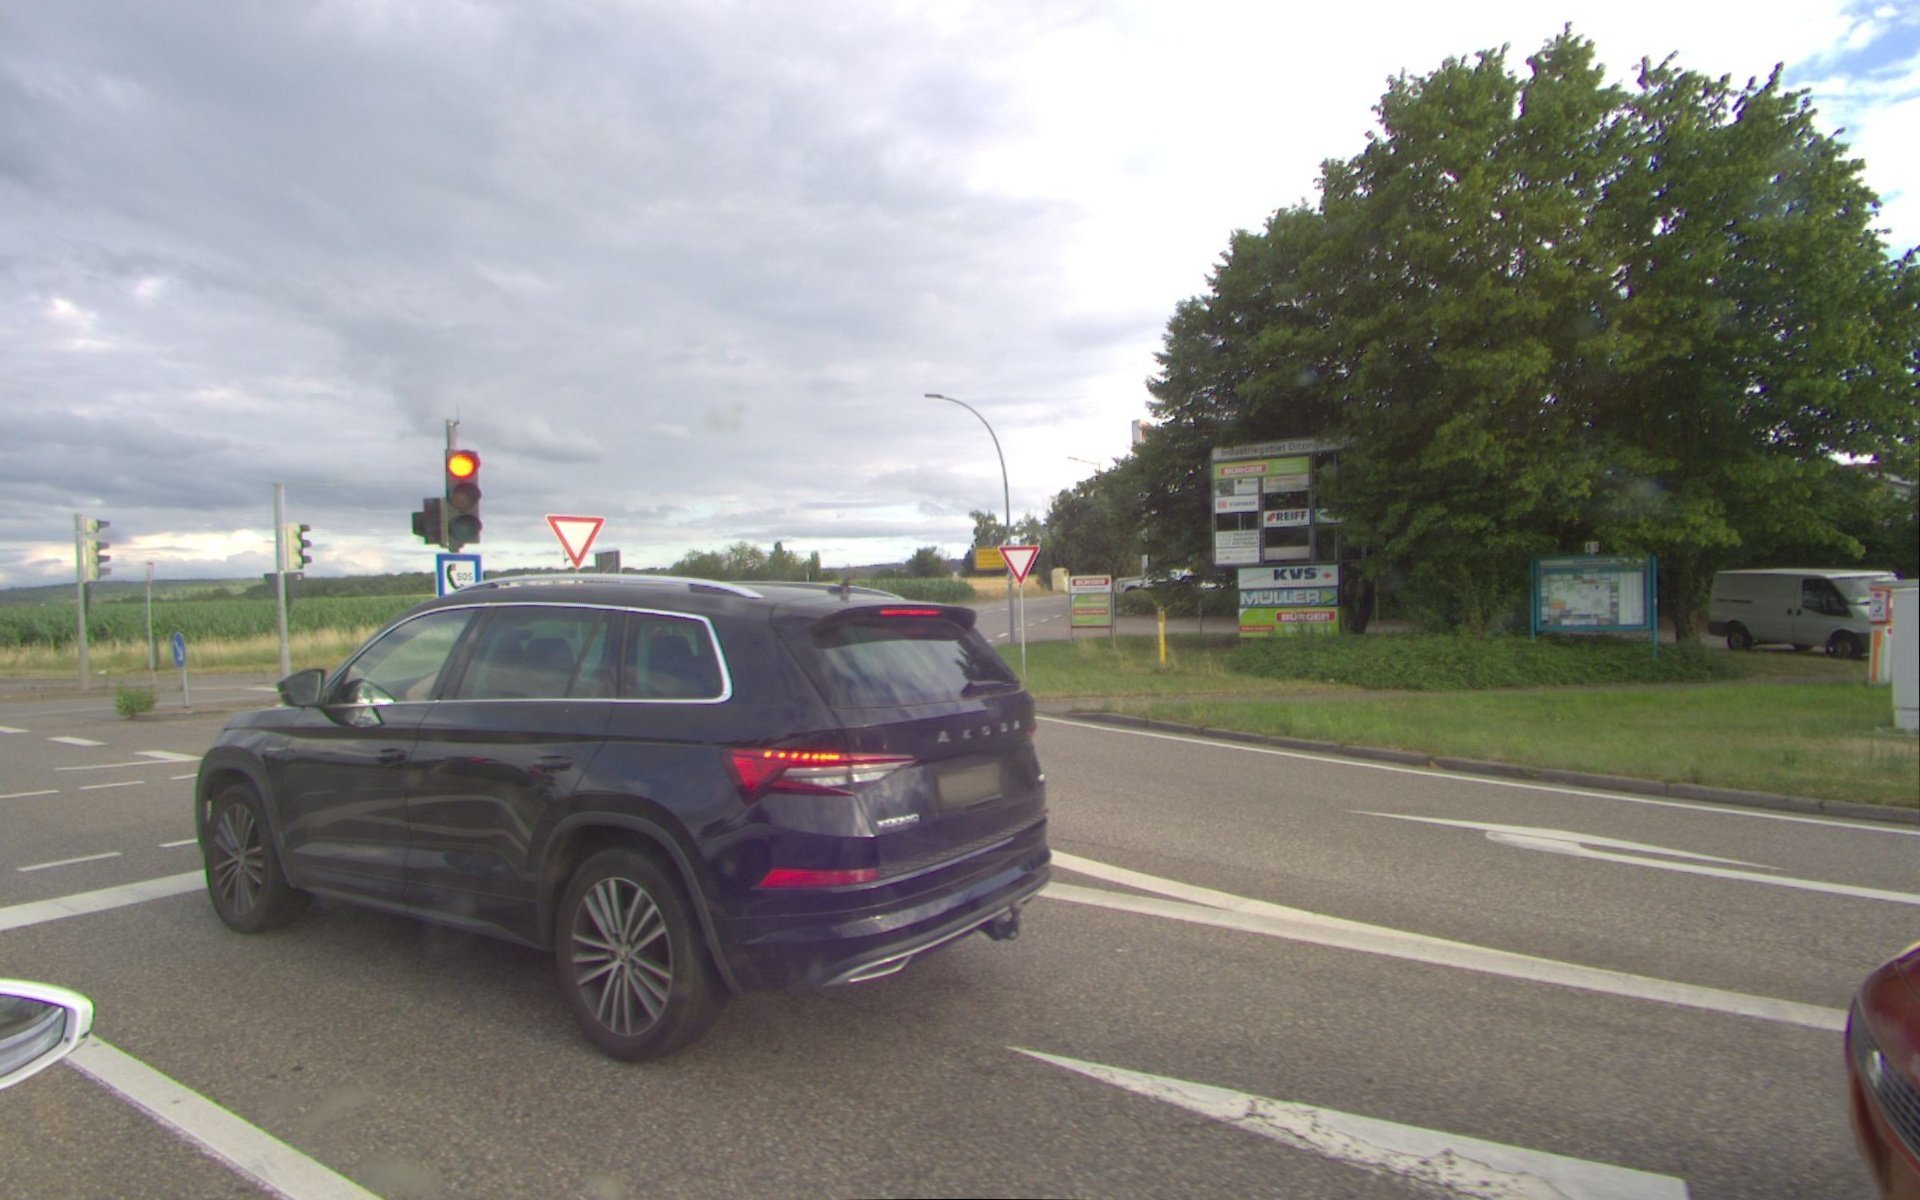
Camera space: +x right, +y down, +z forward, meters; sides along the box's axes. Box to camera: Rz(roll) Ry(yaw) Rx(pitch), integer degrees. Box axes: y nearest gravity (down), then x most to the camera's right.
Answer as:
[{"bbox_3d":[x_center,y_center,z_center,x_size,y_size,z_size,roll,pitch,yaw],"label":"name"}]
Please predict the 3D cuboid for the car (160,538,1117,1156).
[{"bbox_3d":[-1.678,0.721,4.677,4.416,1.671,1.842,-1,-2,32],"label":"car"}]

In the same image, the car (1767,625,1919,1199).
[{"bbox_3d":[3.469,0.757,1.005,3.937,1.451,1.660,-1,-1,32],"label":"car"}]

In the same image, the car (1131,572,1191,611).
[{"bbox_3d":[10.913,-0.502,54.041,1.931,1.910,4.284,-1,2,29],"label":"car"}]

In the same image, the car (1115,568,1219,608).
[{"bbox_3d":[11.895,-0.681,57.527,5.524,2.041,1.992,-2,1,26],"label":"car"}]

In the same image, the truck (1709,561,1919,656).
[{"bbox_3d":[20.461,0.224,23.713,1.788,2.022,4.671,0,-1,-3],"label":"truck"}]
